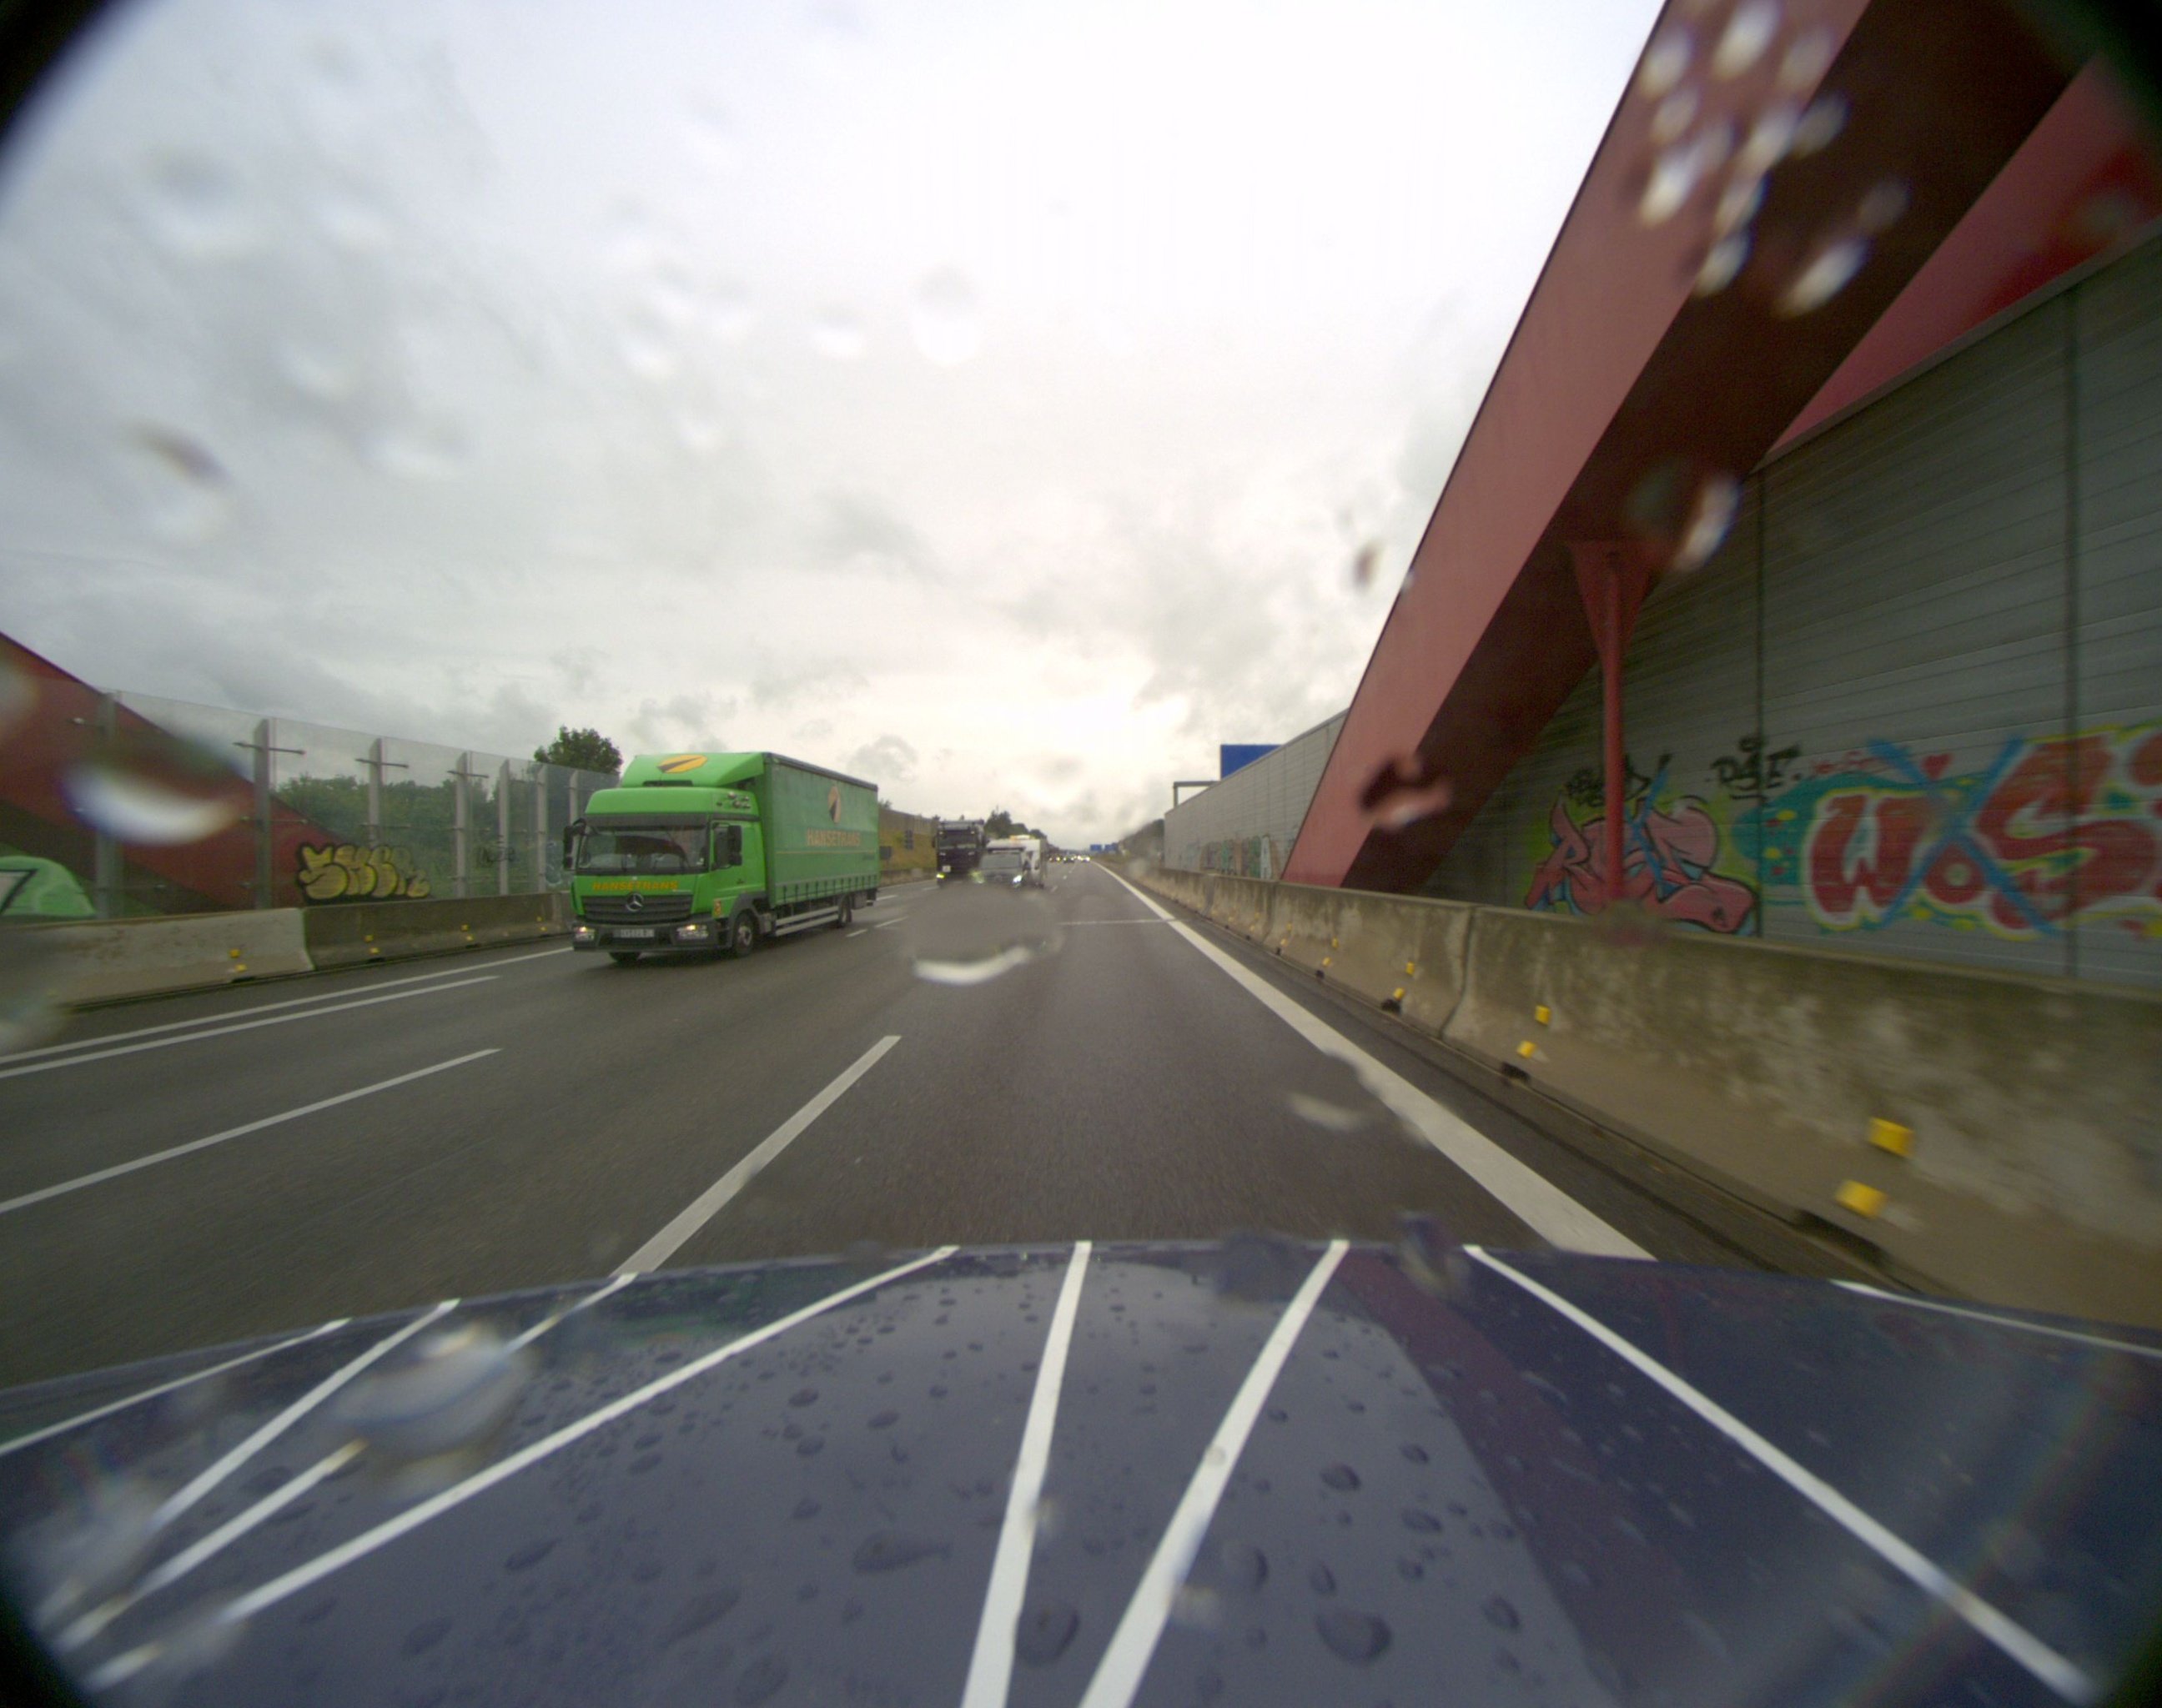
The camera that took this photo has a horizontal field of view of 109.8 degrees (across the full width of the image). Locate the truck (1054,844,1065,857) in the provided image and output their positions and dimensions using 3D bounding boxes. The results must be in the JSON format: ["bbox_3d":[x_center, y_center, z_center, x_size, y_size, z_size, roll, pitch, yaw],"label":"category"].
[{"bbox_3d":[-5.443,-0.920,194.731,2.617,3.218,4.632,-1,0,0],"label":"truck"}]

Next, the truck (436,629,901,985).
[{"bbox_3d":[-7.531,-0.734,17.060,4.007,5.235,11.218,-2,0,1],"label":"truck"}]

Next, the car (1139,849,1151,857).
[{"bbox_3d":[15.514,-0.281,183.904,2.219,2.002,7.058,-2,0,1],"label":"car"}]

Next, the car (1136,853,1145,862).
[{"bbox_3d":[13.270,0.705,169.620,1.873,1.911,4.000,-2,0,1],"label":"car"}]

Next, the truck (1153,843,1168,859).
[{"bbox_3d":[19.968,-0.702,190.698,2.869,3.816,7.521,-2,1,0],"label":"truck"}]

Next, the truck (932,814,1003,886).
[{"bbox_3d":[-6.830,-0.267,47.861,2.820,3.927,12.710,0,0,-1],"label":"truck"}]

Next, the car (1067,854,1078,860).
[{"bbox_3d":[-1.657,0.518,149.142,2.061,1.020,3.438,-2,0,0],"label":"car"}]

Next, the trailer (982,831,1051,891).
[{"bbox_3d":[-2.978,0.302,37.126,2.728,2.627,7.511,-1,0,0],"label":"trailer"}]

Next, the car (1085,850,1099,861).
[{"bbox_3d":[2.311,0.261,160.203,2.680,2.340,5.807,-1,0,-2],"label":"car"}]

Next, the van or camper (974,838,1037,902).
[{"bbox_3d":[-2.924,0.587,30.476,1.895,2.256,5.678,-3,0,0],"label":"van or camper"}]

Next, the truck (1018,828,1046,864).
[{"bbox_3d":[-5.713,-0.940,89.958,2.693,3.935,9.324,-2,0,-1],"label":"truck"}]
